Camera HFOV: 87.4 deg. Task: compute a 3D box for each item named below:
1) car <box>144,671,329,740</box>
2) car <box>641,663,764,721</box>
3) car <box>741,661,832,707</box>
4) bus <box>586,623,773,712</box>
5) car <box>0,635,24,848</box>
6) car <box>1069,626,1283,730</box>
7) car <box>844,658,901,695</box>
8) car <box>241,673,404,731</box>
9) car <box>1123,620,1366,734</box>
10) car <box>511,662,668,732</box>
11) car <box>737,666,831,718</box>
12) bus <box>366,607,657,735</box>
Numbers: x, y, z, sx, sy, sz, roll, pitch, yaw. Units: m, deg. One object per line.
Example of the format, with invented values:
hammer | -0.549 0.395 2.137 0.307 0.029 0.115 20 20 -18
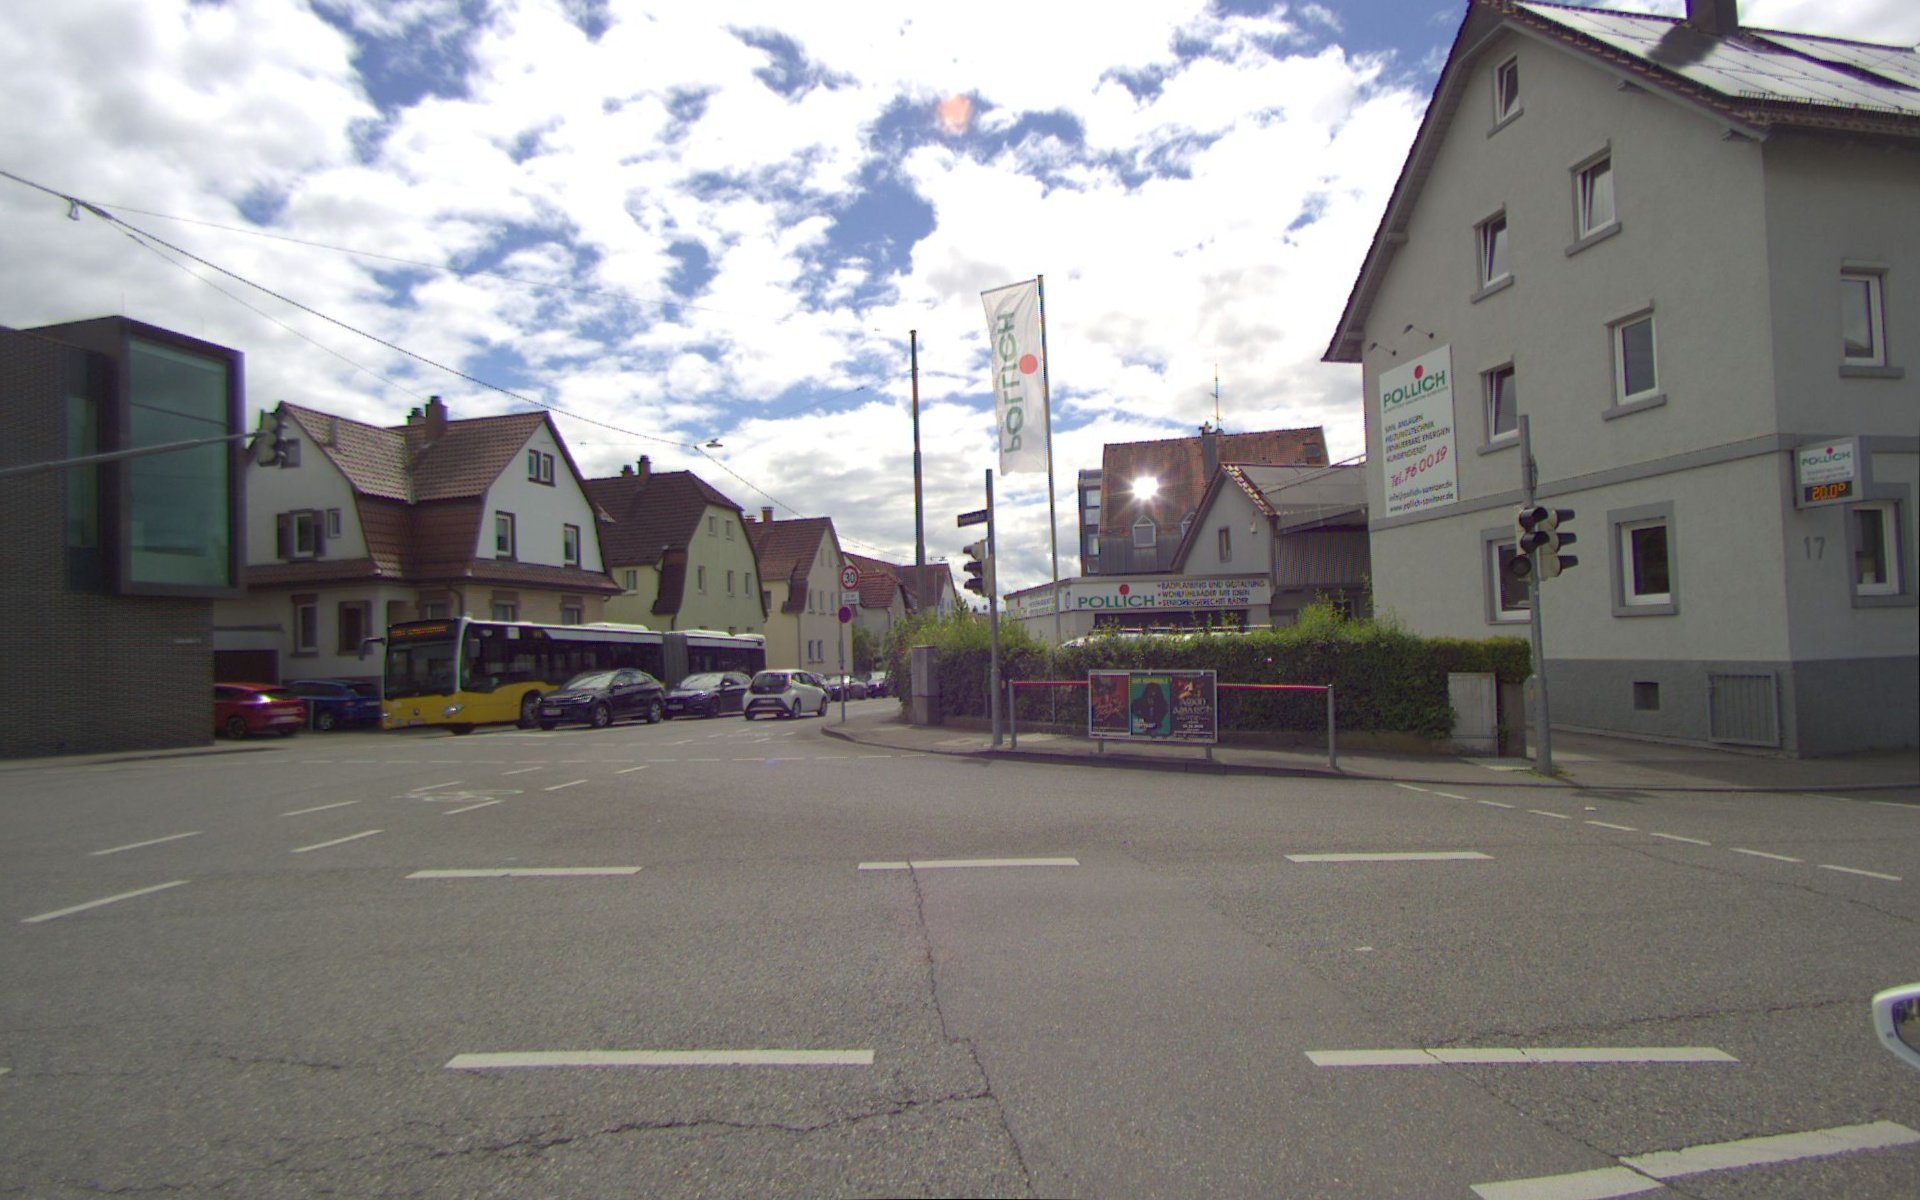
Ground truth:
car | -20.197 2.915 28.119 3.919 1.661 2.002 1 -3 11
car | -8.046 2.861 31.810 1.960 1.661 4.186 -1 -3 15
car | -6.618 3.209 38.752 1.960 1.661 4.003 -1 -3 15
bus | -10.277 2.529 38.185 2.730 2.952 9.199 -1 -3 13
car | -8.138 0.980 5.731 1.740 1.596 4.004 -1 -3 2
car | 4.508 1.615 21.287 3.929 2.040 1.997 0 -3 -11
car | -5.173 4.517 59.660 1.960 2.040 4.002 -2 -3 17
car | -19.688 3.140 31.110 3.919 1.705 2.002 -1 -3 11
car | 5.314 1.427 19.027 3.929 1.973 1.997 0 -4 -12
car | -9.708 2.515 26.684 1.960 1.661 4.003 -1 -3 15
car | -5.328 2.778 30.769 1.708 1.479 3.536 -1 -3 10
bus | -12.450 2.012 29.274 2.730 3.100 9.199 -1 -3 13
